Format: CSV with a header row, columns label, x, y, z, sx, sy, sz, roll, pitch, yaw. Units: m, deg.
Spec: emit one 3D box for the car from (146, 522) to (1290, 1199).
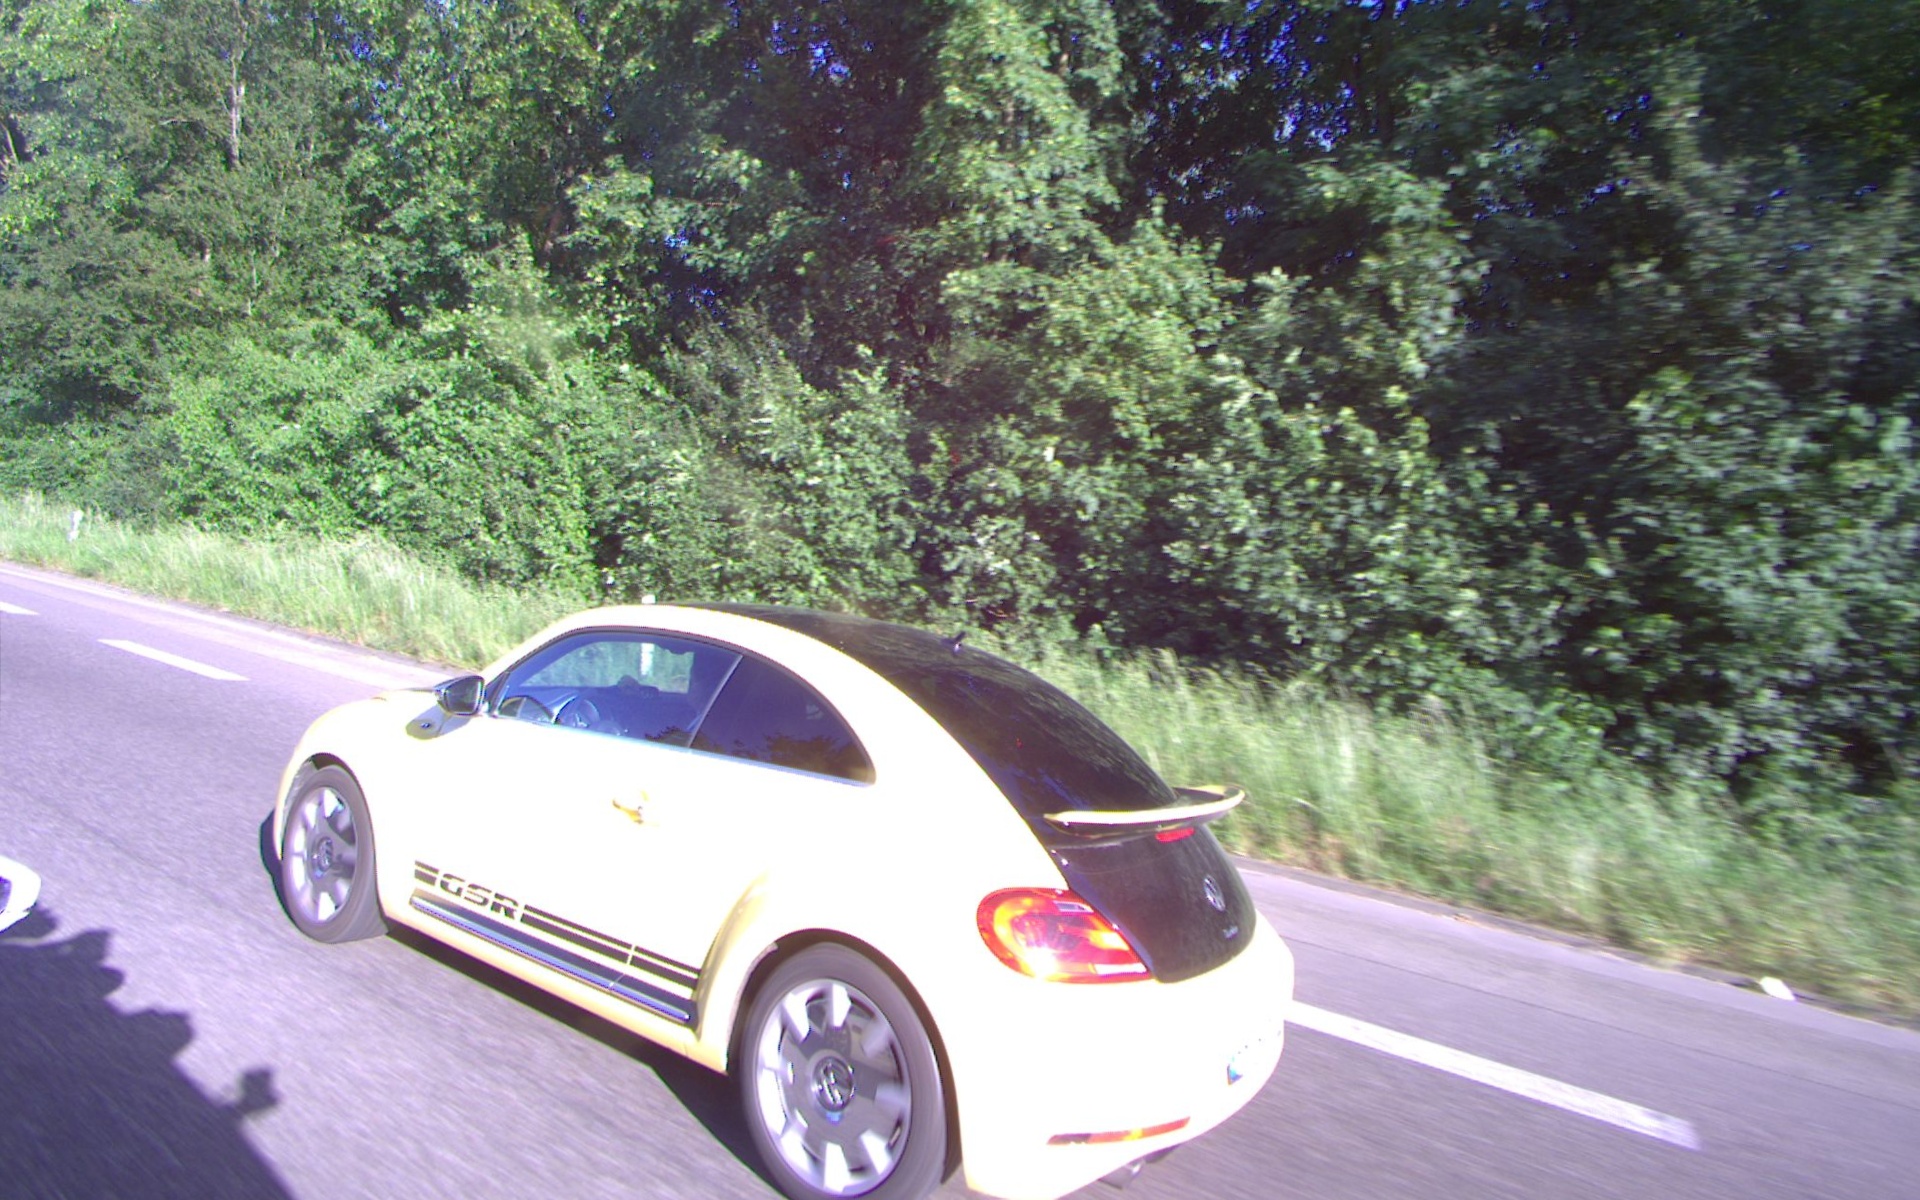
label,x,y,z,sx,sy,sz,roll,pitch,yaw
car,-1.137,0.699,4.079,4.282,1.479,1.883,7,-1,30
